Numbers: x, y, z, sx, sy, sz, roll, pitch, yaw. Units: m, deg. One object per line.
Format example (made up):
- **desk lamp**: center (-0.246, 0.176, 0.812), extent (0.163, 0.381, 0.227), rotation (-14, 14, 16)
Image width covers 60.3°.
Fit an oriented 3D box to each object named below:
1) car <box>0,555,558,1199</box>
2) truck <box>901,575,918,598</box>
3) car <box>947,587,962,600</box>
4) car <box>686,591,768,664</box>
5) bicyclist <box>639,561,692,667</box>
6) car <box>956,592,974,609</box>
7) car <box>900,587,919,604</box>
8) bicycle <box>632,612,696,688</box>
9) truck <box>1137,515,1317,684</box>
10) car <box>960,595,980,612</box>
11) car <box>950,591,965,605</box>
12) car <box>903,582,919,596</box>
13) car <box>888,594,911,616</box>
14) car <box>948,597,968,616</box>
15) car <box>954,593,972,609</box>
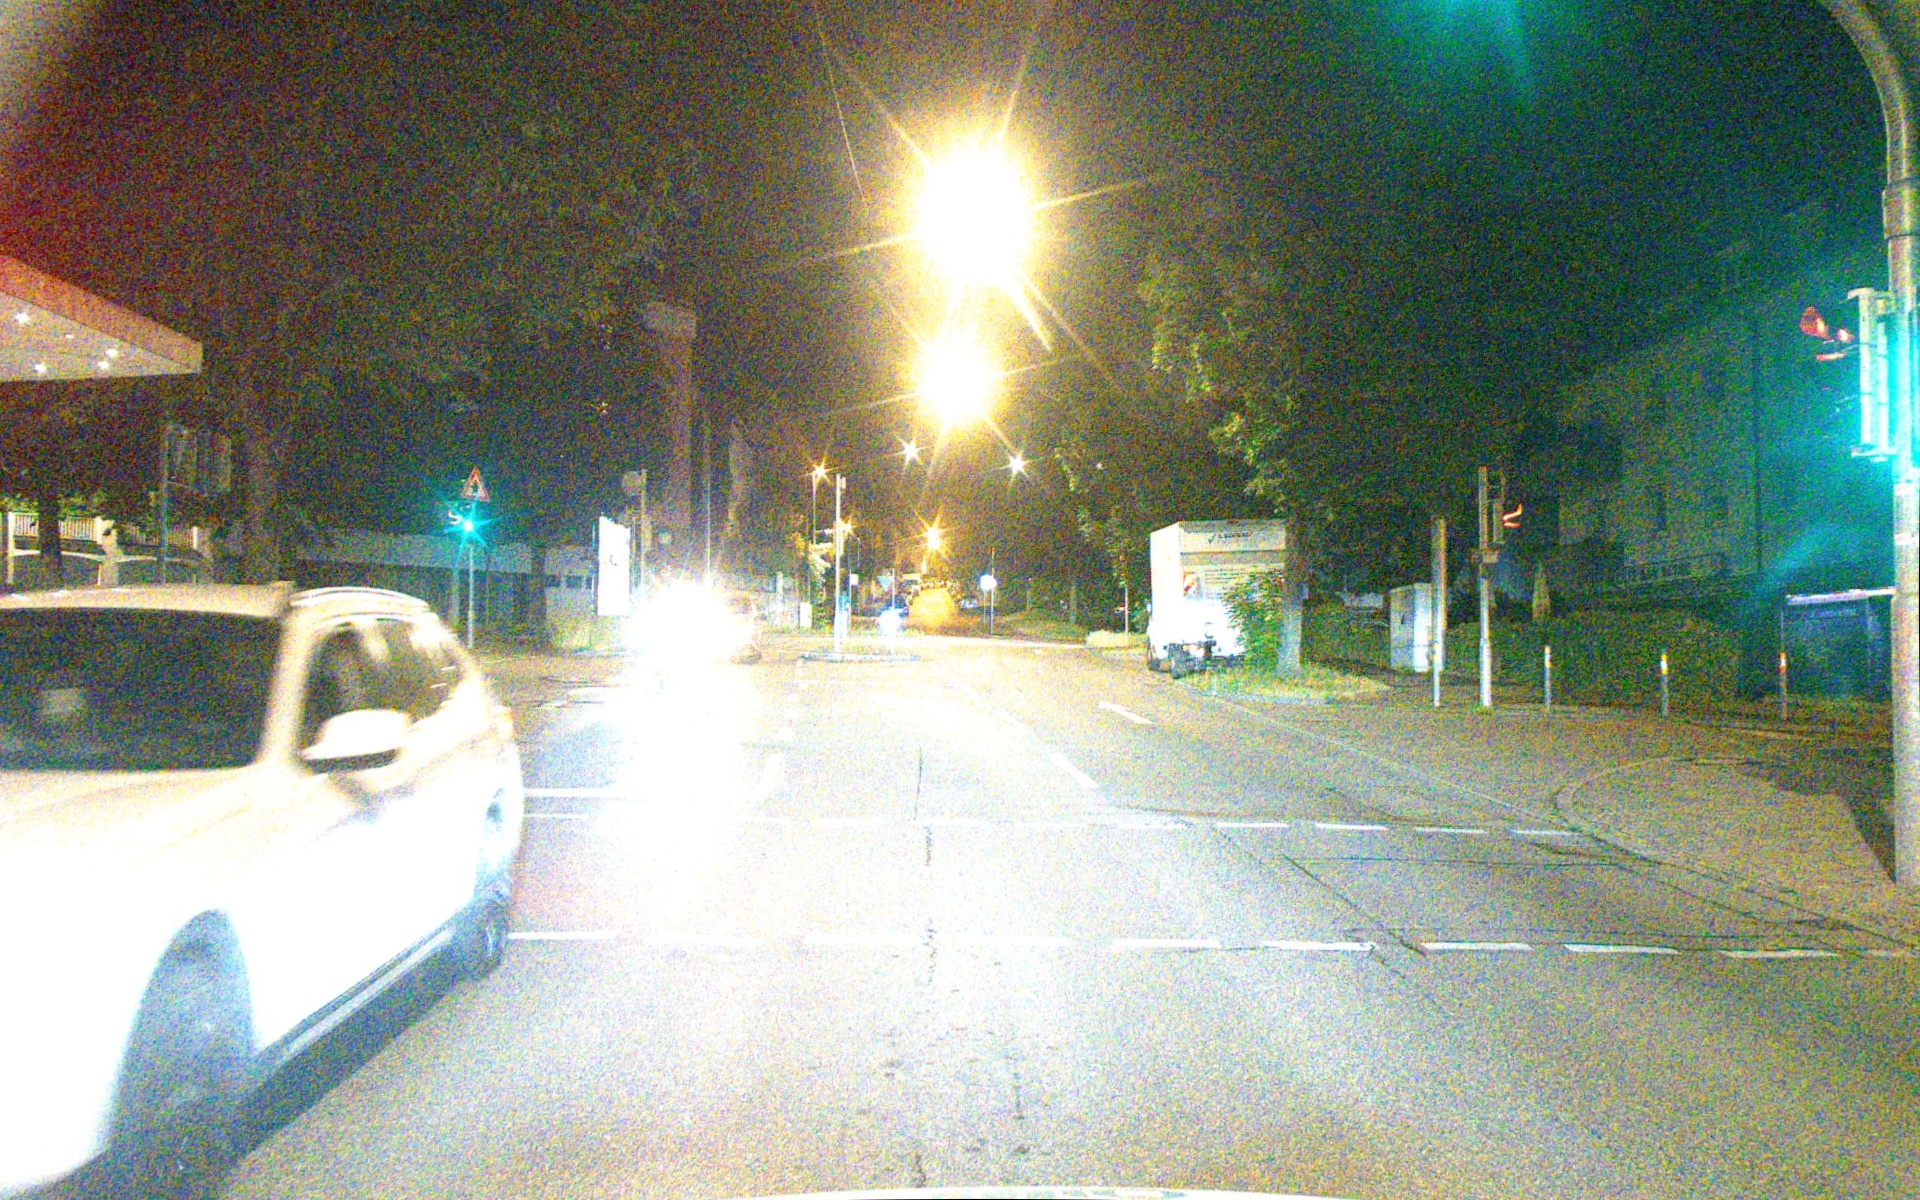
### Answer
- **car**: center (-2.582, 0.680, 4.990), extent (1.819, 1.561, 4.026), rotation (1, 0, -2)
- **truck**: center (-6.428, -1.705, 209.506), extent (2.044, 2.897, 5.828), rotation (1, 0, -2)
- **car**: center (-0.646, -0.718, 191.480), extent (1.601, 1.477, 3.484), rotation (1, 0, -1)
- **car**: center (-5.092, 0.568, 36.495), extent (1.550, 1.528, 3.393), rotation (1, 0, -4)
- **bicyclist**: center (-4.715, 0.220, 26.513), extent (0.676, 1.666, 0.896), rotation (1, -1, -1)
- **car**: center (0.421, 0.065, 153.096), extent (1.601, 1.477, 3.484), rotation (1, 0, -1)
- **car**: center (-4.873, -0.436, 160.497), extent (1.779, 1.517, 3.998), rotation (1, 0, -2)
- **bicycle**: center (-4.725, 0.782, 26.488), extent (0.682, 1.169, 1.950), rotation (1, 0, -1)
- **truck**: center (5.417, -0.019, 34.659), extent (2.693, 3.165, 6.257), rotation (1, 0, 0)
- **car**: center (0.883, 0.292, 143.367), extent (1.601, 1.477, 3.484), rotation (1, 0, -1)
- **car**: center (-0.258, -0.171, 178.512), extent (1.601, 1.477, 3.484), rotation (1, 0, -1)
- **car**: center (-5.526, -1.204, 186.881), extent (1.779, 1.517, 3.998), rotation (1, 0, -2)
- **car**: center (-4.892, 0.369, 134.364), extent (1.778, 1.713, 3.999), rotation (1, 0, -1)
- **car**: center (-0.188, 0.520, 137.806), extent (1.561, 1.502, 3.653), rotation (1, 0, -1)
- **car**: center (0.266, 0.101, 159.278), extent (1.601, 1.477, 3.484), rotation (1, 0, -1)
